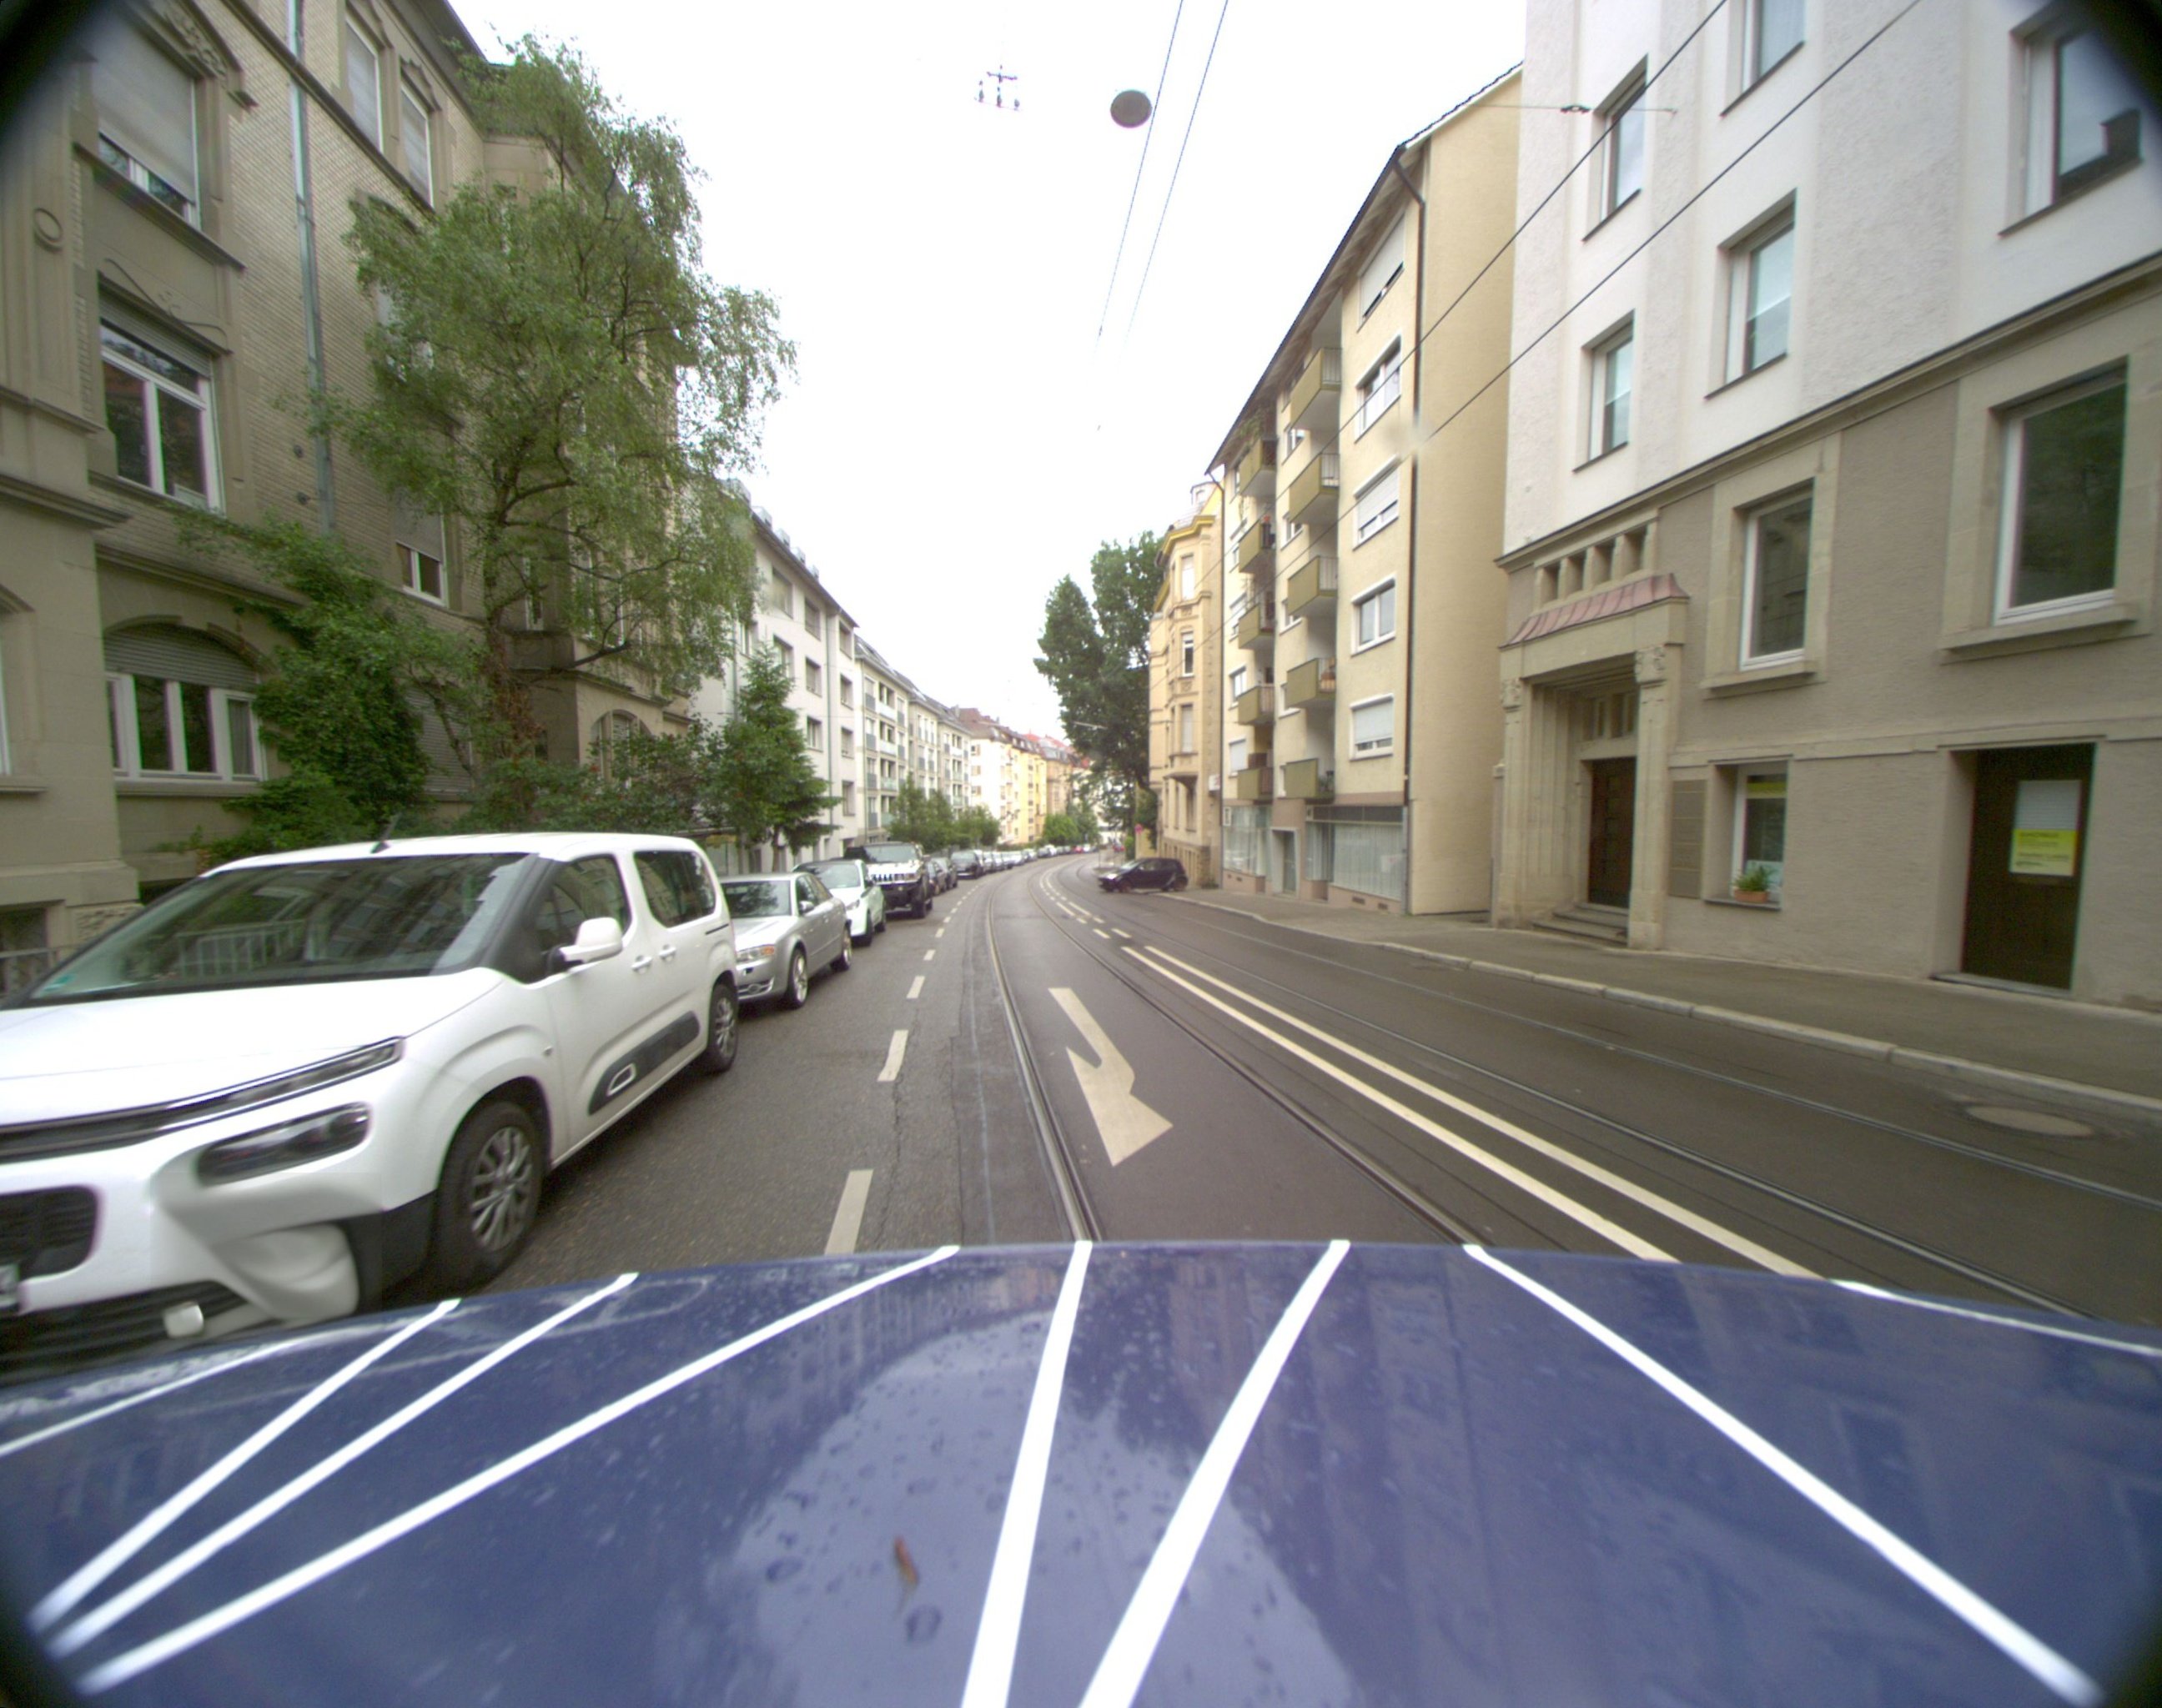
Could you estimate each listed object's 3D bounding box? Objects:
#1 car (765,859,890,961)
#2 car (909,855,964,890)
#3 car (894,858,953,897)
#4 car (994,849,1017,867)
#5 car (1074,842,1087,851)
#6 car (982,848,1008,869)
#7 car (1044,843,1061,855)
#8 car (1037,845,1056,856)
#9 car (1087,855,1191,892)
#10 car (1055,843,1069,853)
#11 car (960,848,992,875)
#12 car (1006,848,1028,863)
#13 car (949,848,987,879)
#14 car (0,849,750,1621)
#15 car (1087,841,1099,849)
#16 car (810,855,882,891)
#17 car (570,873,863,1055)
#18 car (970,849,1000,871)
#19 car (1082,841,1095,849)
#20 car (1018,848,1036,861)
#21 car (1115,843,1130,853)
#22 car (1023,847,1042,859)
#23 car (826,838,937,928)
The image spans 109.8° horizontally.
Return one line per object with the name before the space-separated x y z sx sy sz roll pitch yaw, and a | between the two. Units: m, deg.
car | -4.621 0.935 14.304 1.565 1.537 3.581 -3 1 -9
car | -6.553 0.800 34.890 1.799 1.429 4.609 -2 1 -3
car | -6.208 0.883 30.305 1.683 1.330 3.881 -2 1 -3
car | -7.065 0.329 71.247 1.981 1.576 4.563 -1 1 -5
car | -0.123 -1.321 130.423 1.556 1.360 3.126 -1 2 13
car | -7.429 0.369 65.718 1.837 1.618 4.661 -1 1 -2
car | -4.075 -0.737 108.850 1.798 1.613 3.868 -2 2 6
car | -4.749 -0.510 103.853 1.797 1.444 4.104 -2 2 9
car | 2.417 0.790 31.880 4.002 1.445 1.738 0 0 -15
car | -2.916 -0.941 118.151 1.590 1.434 3.477 -2 2 6
car | -7.435 0.517 54.104 1.783 1.785 4.469 -1 1 -3
car | -6.773 0.128 80.896 1.862 1.507 4.789 -1 1 2
car | -7.131 0.554 48.252 1.948 1.785 4.818 -2 1 -4
car | -3.305 0.894 3.858 1.803 1.755 4.459 -3 1 -9
car | 2.248 -1.773 143.255 1.612 1.434 3.690 -1 2 13
car | -10.671 0.807 34.866 1.817 1.418 4.153 -3 1 2
car | -3.935 1.050 9.144 1.754 1.392 4.475 -3 1 -7
car | -7.501 0.444 59.893 1.837 1.647 4.685 -1 1 -1
car | 1.408 -1.638 139.164 1.612 1.434 3.690 -1 2 13
car | -6.291 0.034 88.244 1.600 1.416 3.515 -1 1 4
car | 7.553 -1.170 138.138 2.067 1.668 4.774 2 3 13
car | -5.912 -0.144 93.139 1.721 1.459 4.391 -1 1 6
car | -5.131 0.648 20.321 2.135 2.002 5.346 -3 1 -8
